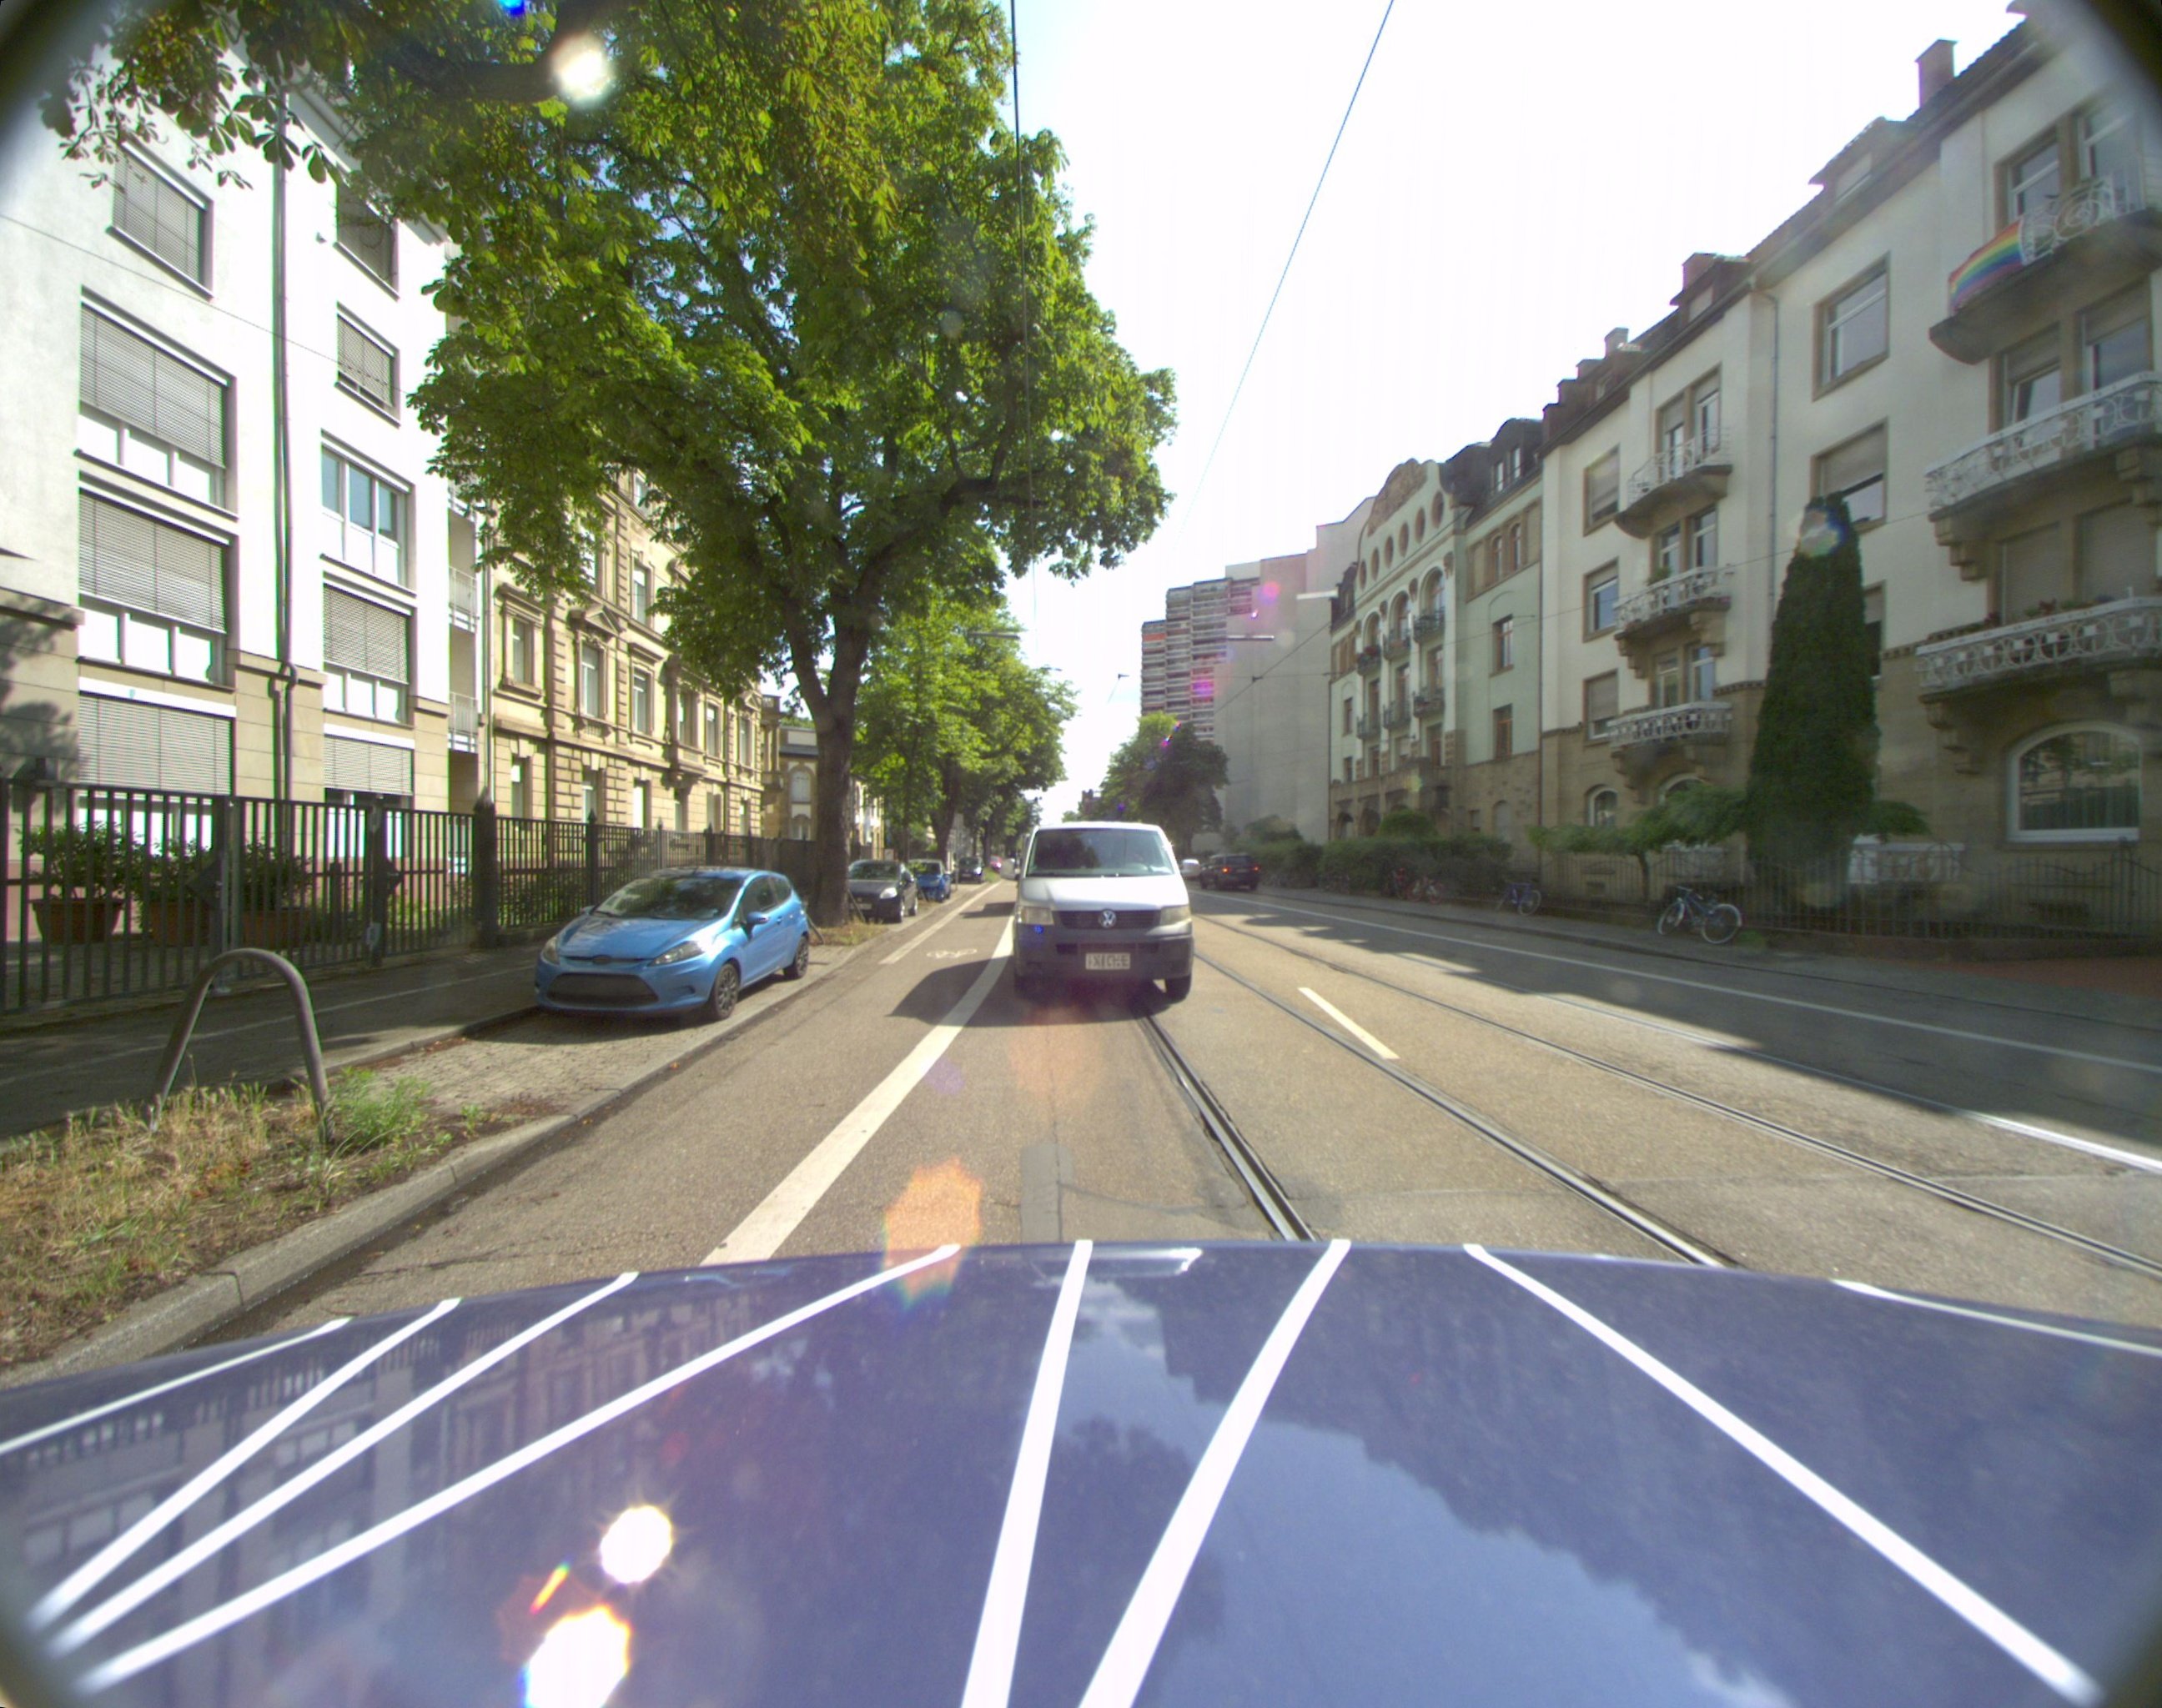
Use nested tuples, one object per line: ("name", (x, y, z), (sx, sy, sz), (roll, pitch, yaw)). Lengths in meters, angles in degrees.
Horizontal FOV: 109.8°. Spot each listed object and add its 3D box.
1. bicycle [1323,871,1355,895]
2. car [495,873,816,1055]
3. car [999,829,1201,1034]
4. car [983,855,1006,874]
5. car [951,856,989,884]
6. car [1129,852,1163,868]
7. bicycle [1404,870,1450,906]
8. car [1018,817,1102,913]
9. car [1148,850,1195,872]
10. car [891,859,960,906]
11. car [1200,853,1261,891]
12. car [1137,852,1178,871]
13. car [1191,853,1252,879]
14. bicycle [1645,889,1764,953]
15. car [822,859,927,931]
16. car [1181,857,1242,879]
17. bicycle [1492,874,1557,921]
("bicycle", (9.957, 1.107, 29.370), (0.587, 0.792, 1.873), (-2, 1, 1))
("car", (-4.341, 1.011, 8.463), (1.642, 1.447, 3.697), (2, 0, -4))
("car", (0.169, 0.700, 9.395), (1.831, 1.856, 4.845), (-1, 0, 0))
("car", (-7.782, 0.894, 68.572), (1.774, 1.563, 4.198), (2, 0, -3))
("car", (-6.643, 0.899, 45.734), (1.774, 1.522, 4.198), (2, 0, -3))
("car", (6.941, 0.623, 81.255), (3.542, 1.733, 1.635), (0, 0, -1))
("bicycle", (10.569, 1.026, 23.242), (0.587, 0.980, 1.873), (0, 1, 1))
("car", (-0.794, 0.276, 23.209), (2.169, 2.572, 5.660), (0, 0, -6))
("car", (8.072, 0.634, 68.270), (3.997, 1.914, 1.831), (0, 0, -1))
("car", (-5.417, 0.934, 26.863), (1.724, 1.443, 3.925), (2, 0, -3))
("car", (7.018, 0.800, 36.056), (1.796, 1.701, 4.330), (0, 0, -4))
("car", (7.161, 0.703, 71.521), (3.663, 1.832, 1.735), (0, 0, -3))
("car", (9.040, 0.790, 49.116), (3.631, 1.630, 1.610), (0, 1, -3))
("bicycle", (11.058, 1.155, 13.576), (0.524, 0.901, 2.067), (0, 2, 4))
("car", (-4.969, 0.932, 18.748), (1.644, 1.499, 3.622), (2, 0, -2))
("car", (8.925, 0.948, 52.043), (3.890, 1.527, 1.634), (0, 0, -1))
("bicycle", (10.903, 1.042, 18.755), (0.539, 1.024, 1.873), (0, 1, 1))
